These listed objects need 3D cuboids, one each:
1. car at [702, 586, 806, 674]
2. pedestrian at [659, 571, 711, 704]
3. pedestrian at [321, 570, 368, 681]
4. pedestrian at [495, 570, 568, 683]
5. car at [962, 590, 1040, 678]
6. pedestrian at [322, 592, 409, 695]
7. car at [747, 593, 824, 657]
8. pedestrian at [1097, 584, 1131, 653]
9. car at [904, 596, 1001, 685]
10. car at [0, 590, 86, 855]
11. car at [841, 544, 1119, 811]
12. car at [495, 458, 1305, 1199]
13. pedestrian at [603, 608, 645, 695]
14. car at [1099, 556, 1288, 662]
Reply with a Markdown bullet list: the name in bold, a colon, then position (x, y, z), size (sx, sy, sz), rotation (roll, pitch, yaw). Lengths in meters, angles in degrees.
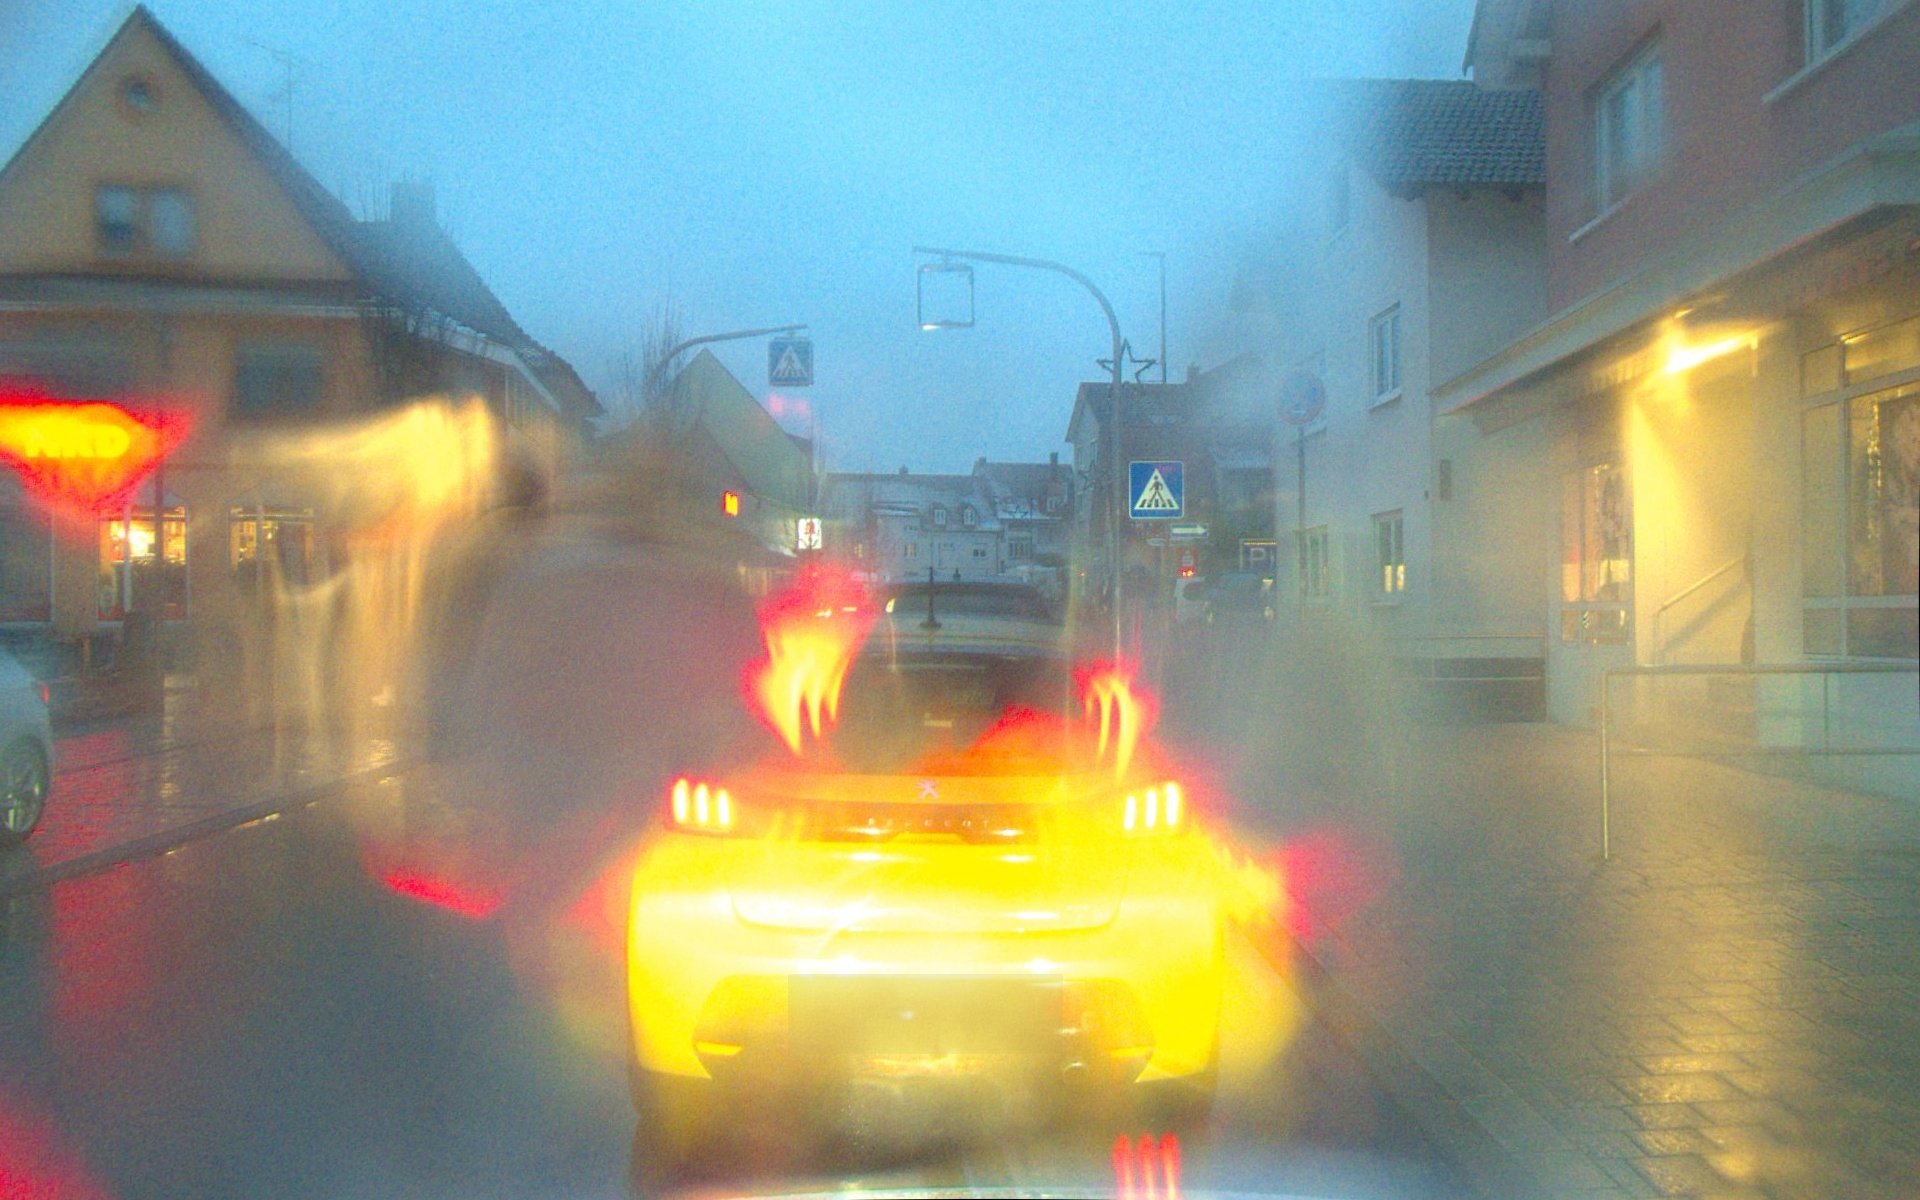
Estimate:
- **car**: position (-5.044, 0.706, 41.129), size (1.952, 2.049, 4.362), rotation (0, 0, 1)
- **pedestrian**: position (-4.018, 0.532, 24.181), size (0.689, 1.909, 0.616), rotation (1, 1, -7)
- **pedestrian**: position (-9.987, 0.407, 26.837), size (0.577, 1.773, 0.683), rotation (0, 0, -9)
- **pedestrian**: position (-6.887, 0.411, 26.621), size (0.954, 1.773, 0.960), rotation (1, 1, -6)
- **car**: position (0.984, 0.799, 41.735), size (1.609, 2.049, 3.998), rotation (-2, 0, -3)
- **pedestrian**: position (-9.018, 0.658, 25.107), size (0.872, 1.442, 0.776), rotation (6, -1, 4)
- **car**: position (-5.035, 0.703, 48.308), size (1.953, 1.783, 4.359), rotation (0, 0, -2)
- **pedestrian**: position (4.655, 0.545, 50.019), size (0.995, 2.049, 1.276), rotation (0, 0, 4)
- **car**: position (-0.082, 0.750, 32.785), size (1.789, 1.629, 4.582), rotation (0, 0, 1)
- **car**: position (-6.396, 0.699, 8.553), size (1.636, 1.543, 3.999), rotation (2, 0, -1)
- **car**: position (0.147, 0.507, 12.569), size (1.761, 1.691, 4.000), rotation (1, 0, 1)
- **car**: position (-0.065, 0.547, 6.326), size (1.952, 1.827, 4.650), rotation (0, 1, 2)
- **pedestrian**: position (-4.922, 0.750, 24.245), size (0.542, 1.254, 0.433), rotation (0, 0, -5)
- **car**: position (4.668, 0.184, 33.455), size (3.620, 2.049, 1.690), rotation (1, -1, 2)
